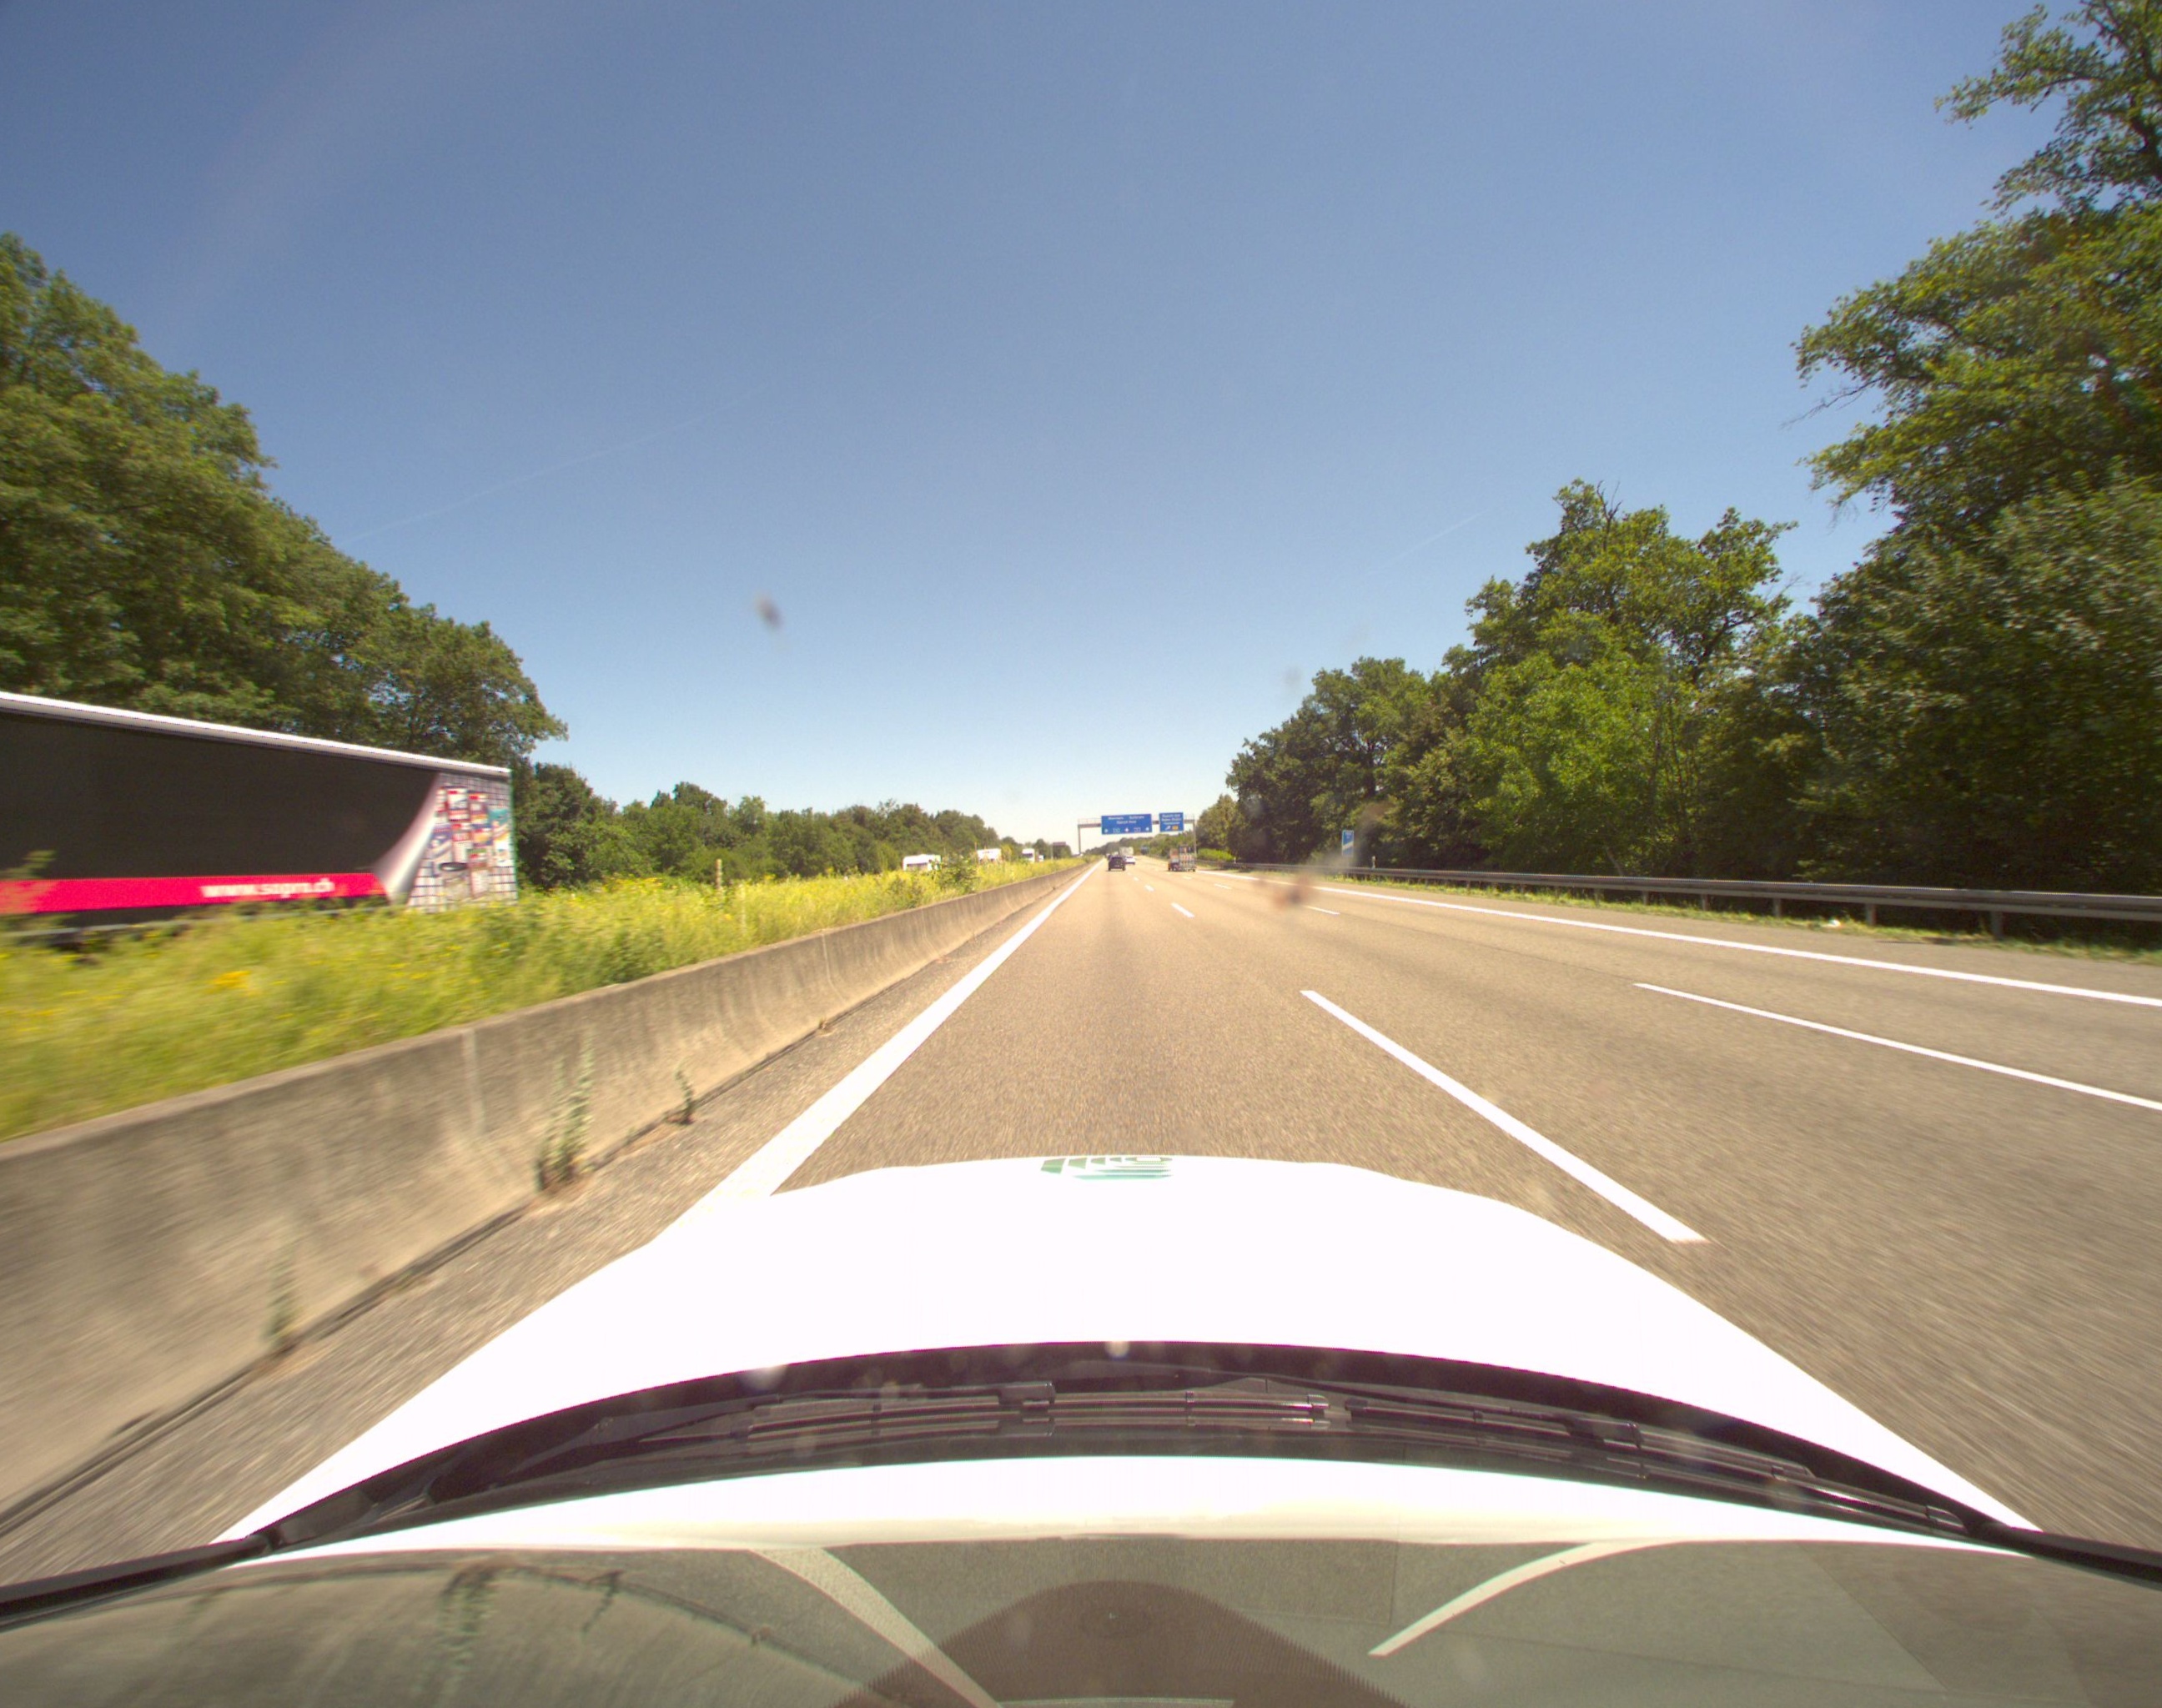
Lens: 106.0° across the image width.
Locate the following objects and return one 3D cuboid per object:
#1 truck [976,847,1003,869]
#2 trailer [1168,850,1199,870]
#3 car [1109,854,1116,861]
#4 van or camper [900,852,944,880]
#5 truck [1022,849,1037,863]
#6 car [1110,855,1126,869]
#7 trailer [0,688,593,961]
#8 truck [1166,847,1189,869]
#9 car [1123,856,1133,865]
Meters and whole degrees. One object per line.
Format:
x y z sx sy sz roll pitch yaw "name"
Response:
-9.984 0.474 89.520 2.303 2.326 6.078 -1 -1 0 "truck"
10.517 0.588 83.937 2.412 2.013 6.033 -1 0 0 "trailer"
9.613 1.067 250.955 1.986 2.014 4.001 -3 -1 1 "car"
-12.216 0.929 63.058 2.214 2.014 5.887 -1 -1 1 "van or camper"
-11.491 0.422 182.226 2.632 3.084 5.850 -1 0 2 "truck"
4.282 0.909 94.870 1.655 1.549 3.783 -2 0 0 "car"
-12.990 -0.269 12.068 2.633 2.969 14.234 -2 0 1 "trailer"
10.553 0.418 89.296 1.987 2.374 4.644 -1 0 0 "truck"
8.279 1.152 144.094 1.734 1.486 4.001 -1 -1 1 "car"
